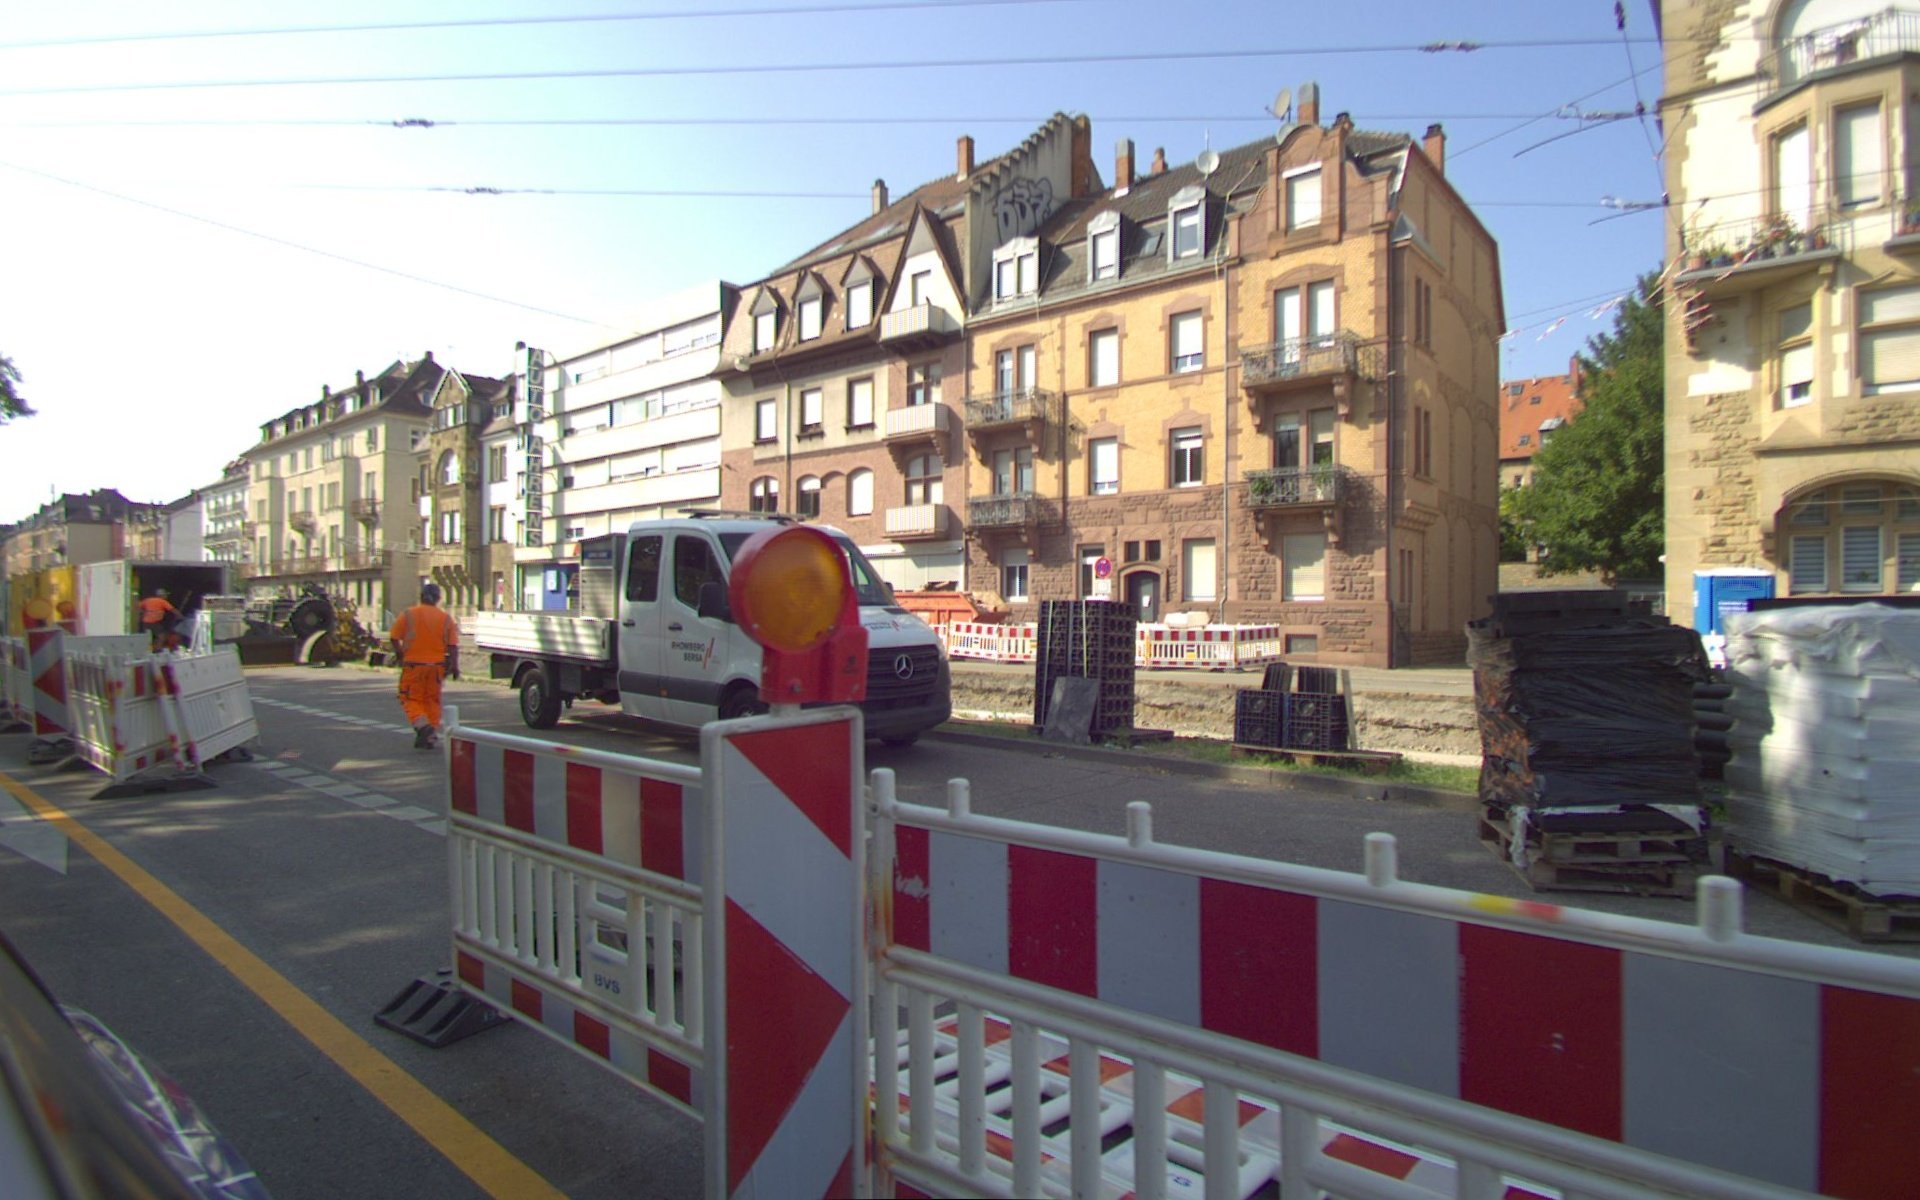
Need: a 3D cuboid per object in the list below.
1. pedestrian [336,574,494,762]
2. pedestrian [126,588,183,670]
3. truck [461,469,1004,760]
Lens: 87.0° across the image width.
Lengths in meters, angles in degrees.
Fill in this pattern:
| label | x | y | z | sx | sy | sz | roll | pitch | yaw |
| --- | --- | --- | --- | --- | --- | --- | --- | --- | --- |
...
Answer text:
| label | x | y | z | sx | sy | sz | roll | pitch | yaw |
| --- | --- | --- | --- | --- | --- | --- | --- | --- | --- |
| pedestrian | -5.415 | 0.639 | 10.058 | 1.094 | 1.723 | 1.021 | -1 | -2 | 39 |
| pedestrian | -20.457 | 0.705 | 25.723 | 0.896 | 2.029 | 0.915 | -1 | 1 | -23 |
| truck | -2.890 | 0.172 | 10.987 | 7.050 | 2.239 | 2.134 | -1 | -2 | 43 |
